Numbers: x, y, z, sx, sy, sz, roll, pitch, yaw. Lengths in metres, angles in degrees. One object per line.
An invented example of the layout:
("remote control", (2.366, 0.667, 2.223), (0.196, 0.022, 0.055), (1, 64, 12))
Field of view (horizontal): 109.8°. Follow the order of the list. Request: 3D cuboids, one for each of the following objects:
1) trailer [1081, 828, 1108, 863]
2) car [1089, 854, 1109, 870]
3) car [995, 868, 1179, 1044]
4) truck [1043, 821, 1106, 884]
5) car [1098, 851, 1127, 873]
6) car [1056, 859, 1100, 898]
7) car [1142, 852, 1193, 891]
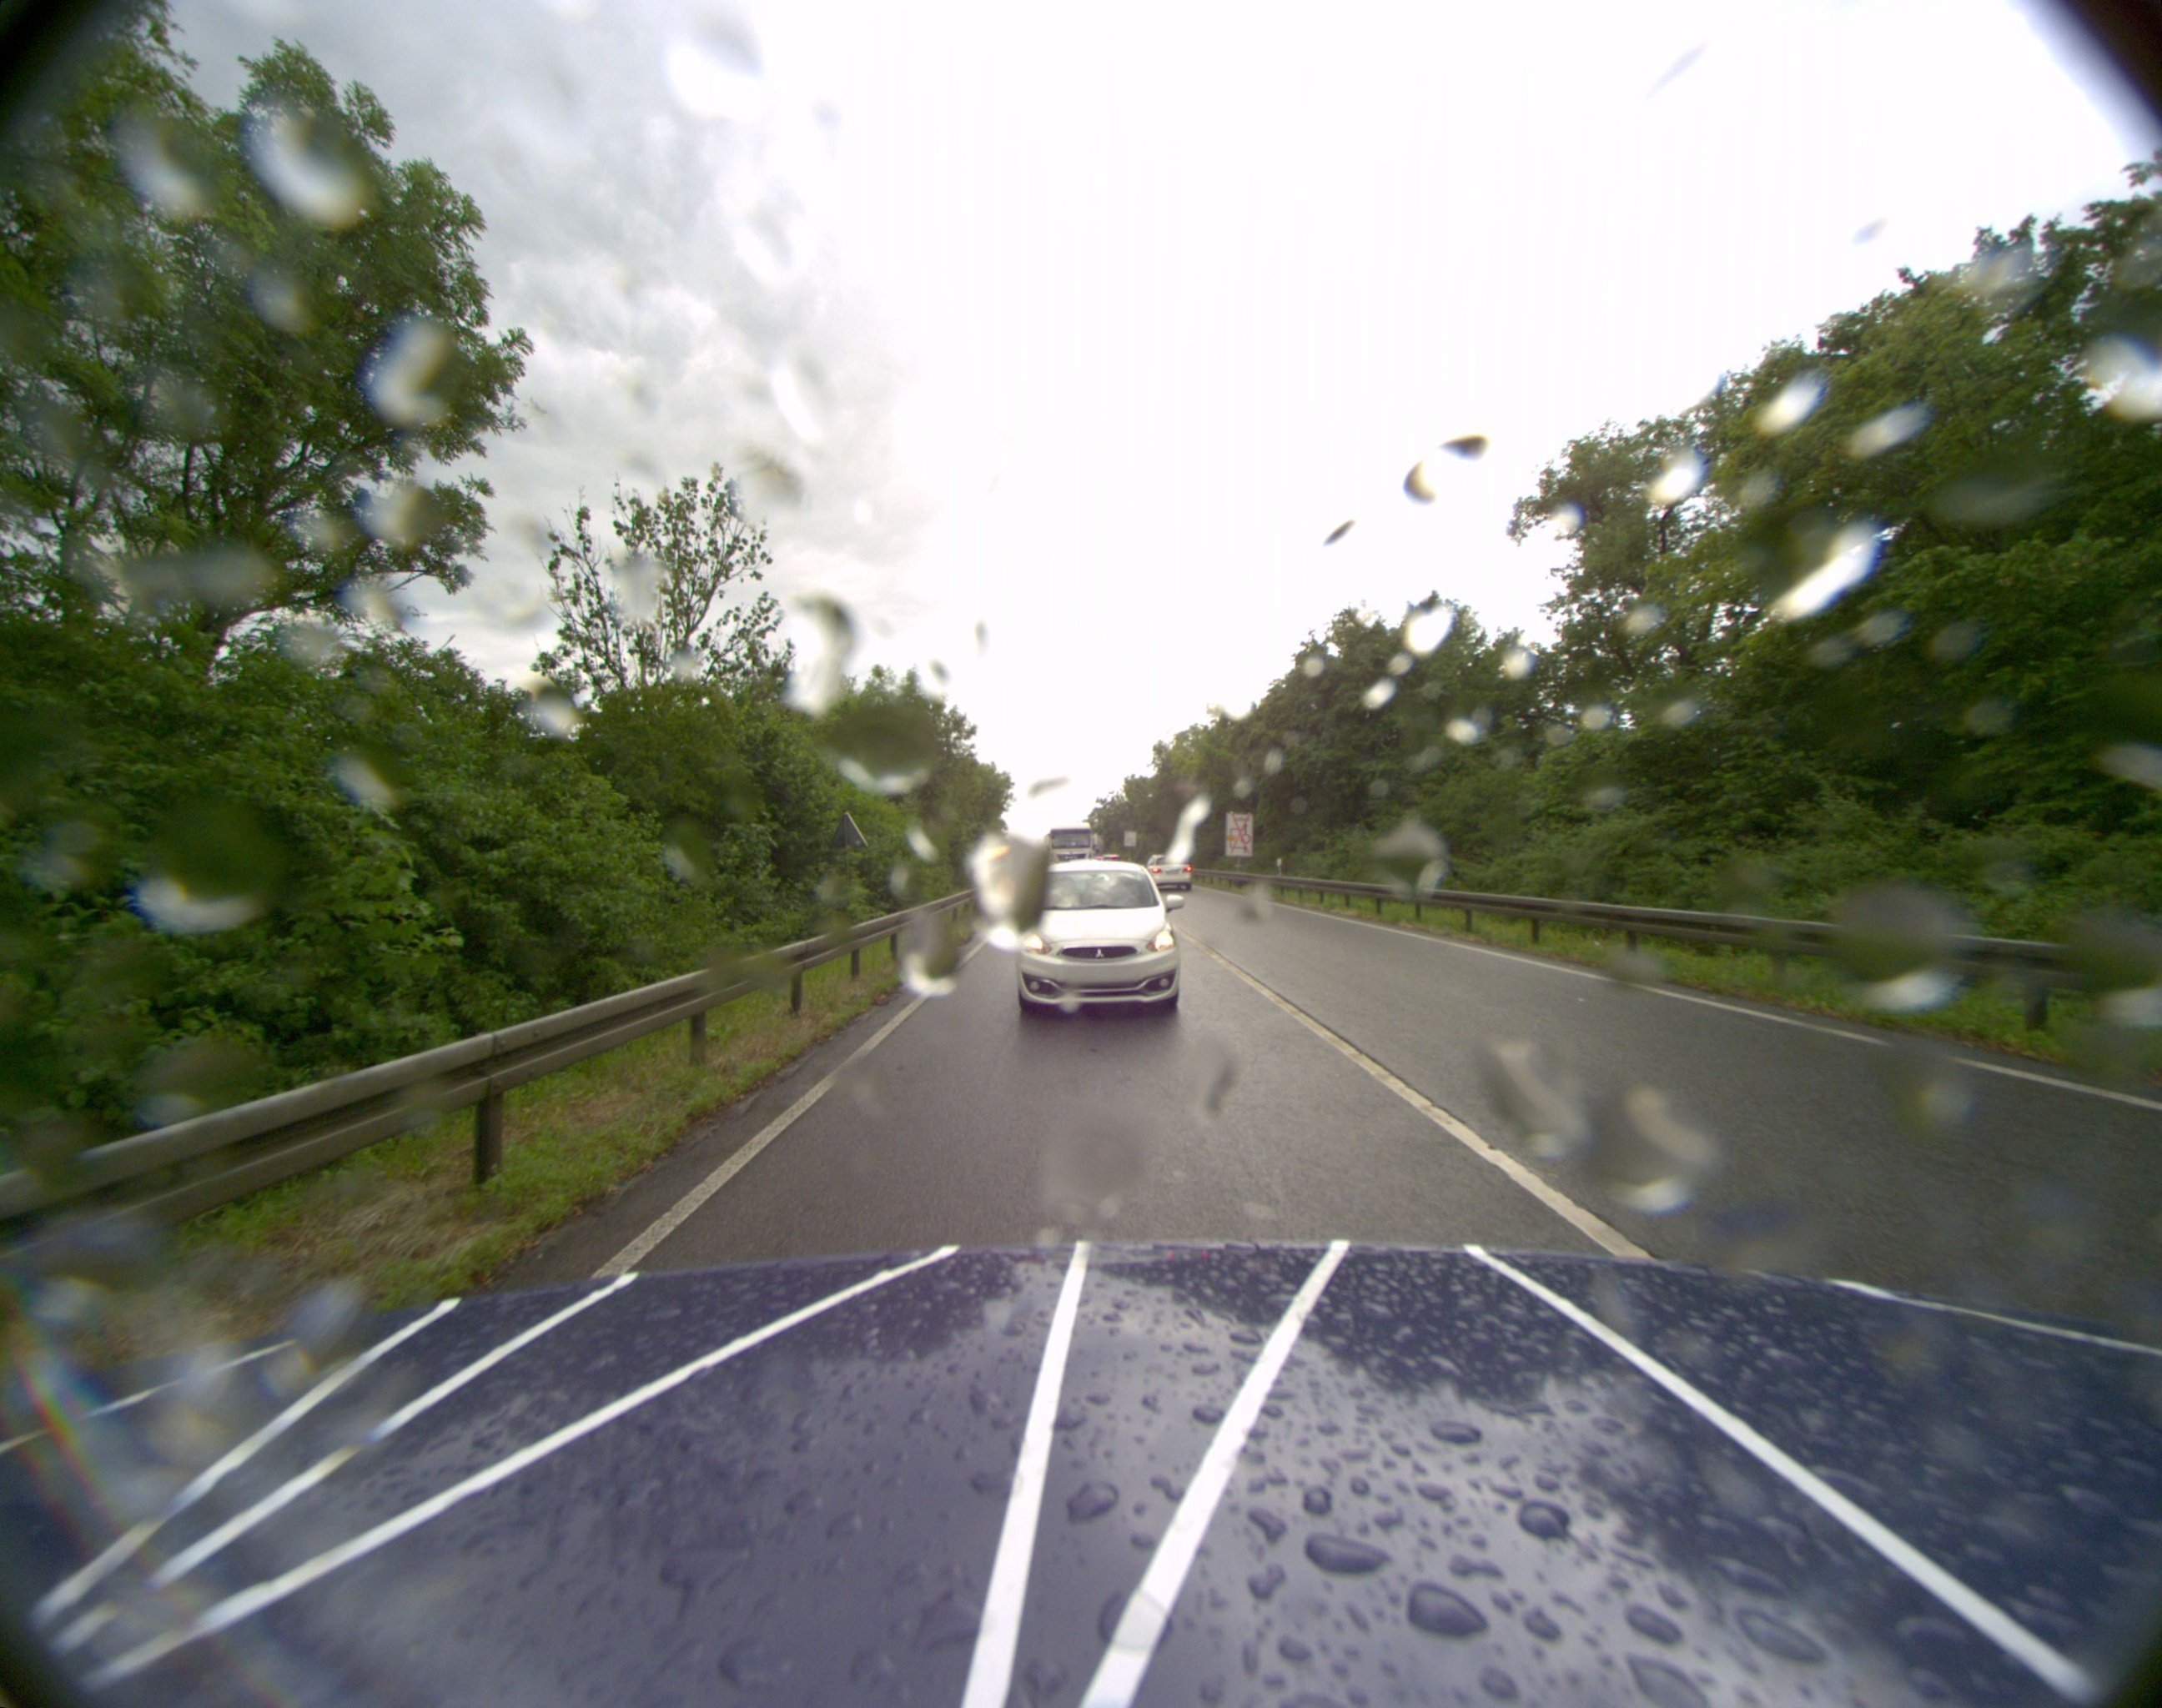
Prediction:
("trailer", (1.516, -1.029, 89.325), (2.543, 3.803, 7.788), (-2, 1, -2))
("car", (1.770, 0.755, 75.290), (1.712, 1.507, 3.911), (-2, 1, -2))
("car", (0.078, 0.958, 8.956), (1.610, 1.435, 4.209), (-2, 0, 1))
("truck", (-0.586, -0.154, 46.563), (3.137, 3.364, 9.279), (-2, 1, -4))
("car", (2.491, 0.630, 60.712), (1.852, 1.634, 4.297), (-2, 0, -3))
("car", (-0.074, 0.952, 31.257), (1.640, 1.413, 4.492), (-2, 0, 1))
("car", (3.844, 0.718, 34.334), (1.696, 1.547, 4.441), (-2, 1, 0))
